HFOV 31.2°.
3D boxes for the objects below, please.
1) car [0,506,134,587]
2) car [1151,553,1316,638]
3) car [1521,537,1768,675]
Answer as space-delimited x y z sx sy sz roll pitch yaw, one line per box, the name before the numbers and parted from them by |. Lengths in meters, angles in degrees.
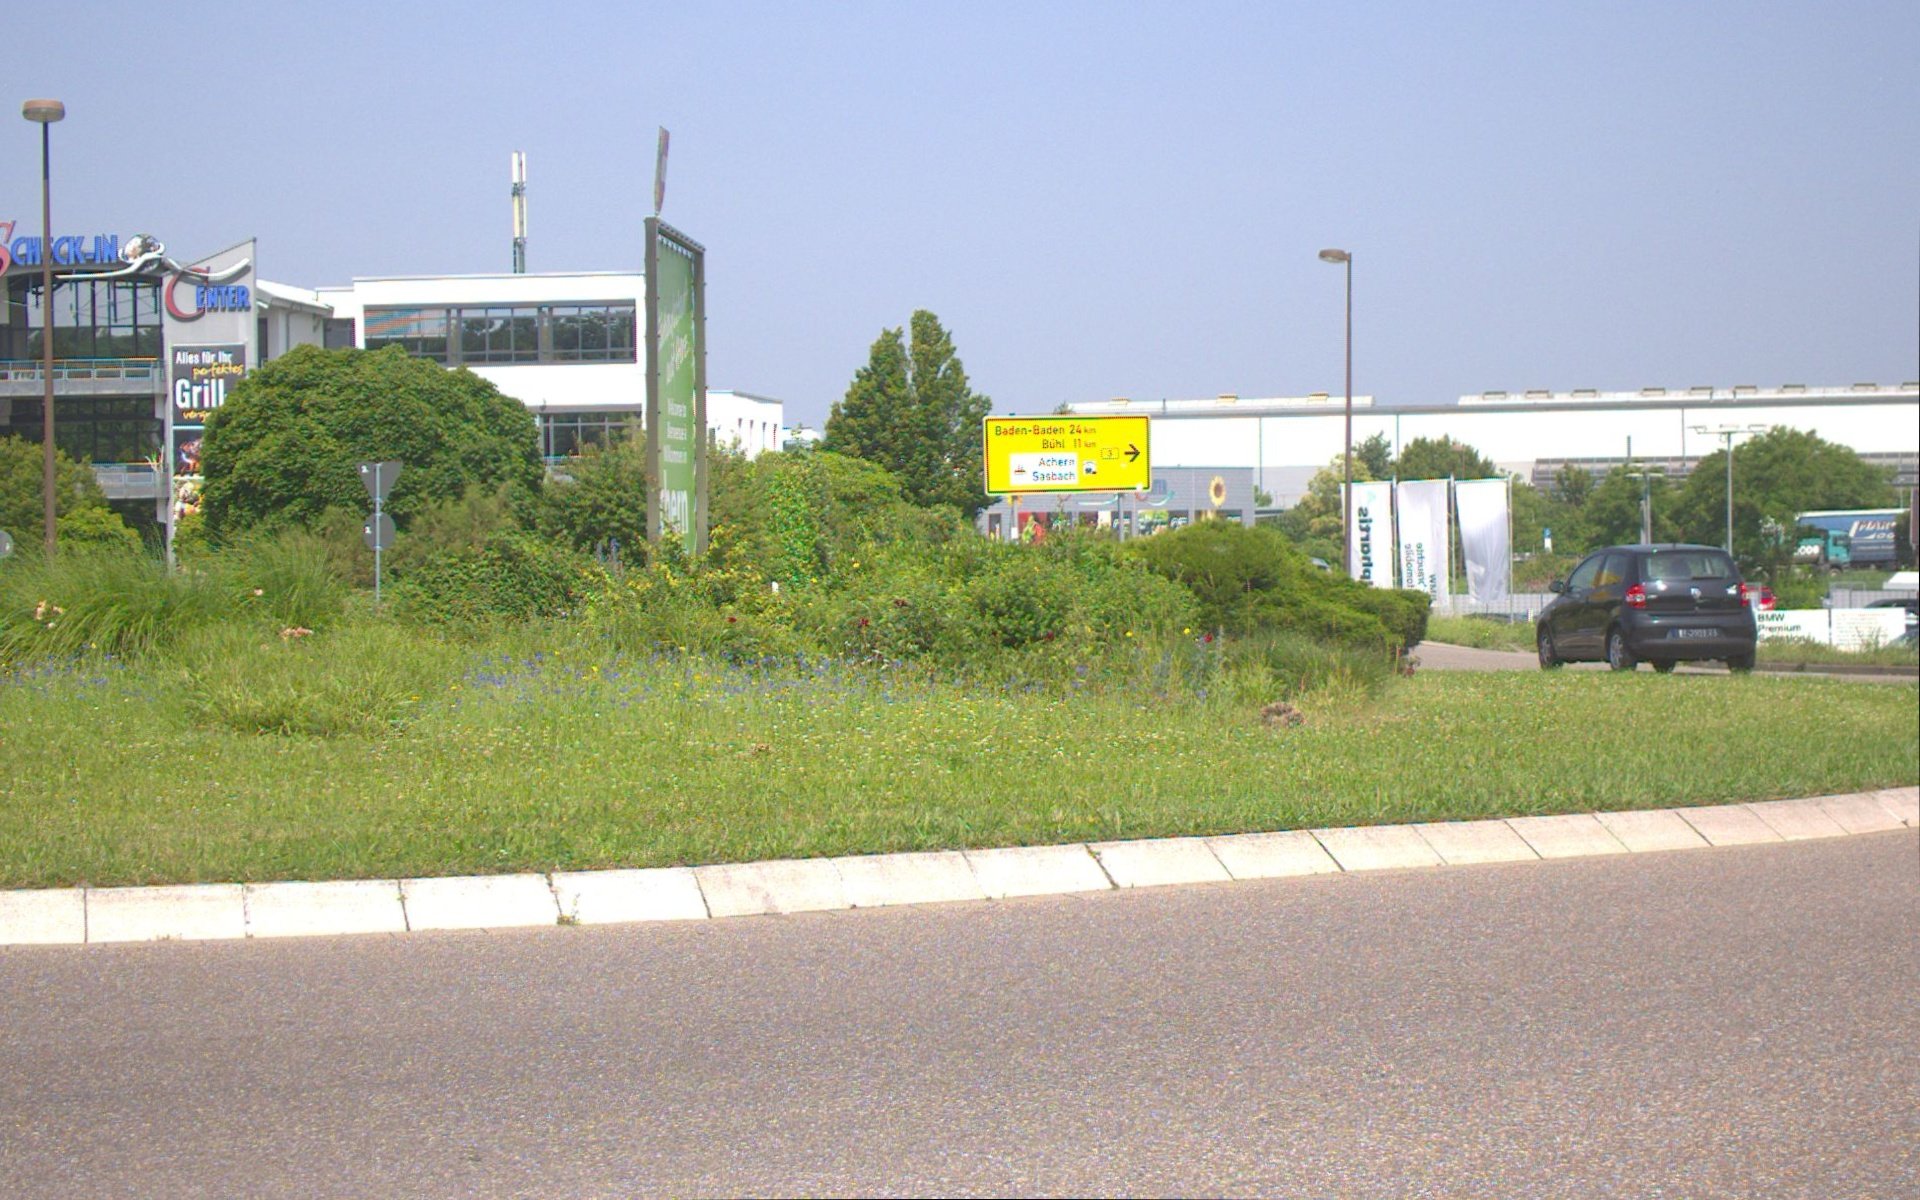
car | -18.518 -1.056 69.268 3.315 1.569 1.555 0 -1 15
car | 4.720 -0.077 59.887 1.778 1.402 4.087 1 0 -11
car | 8.010 0.074 40.597 1.779 1.525 4.001 1 0 -5
